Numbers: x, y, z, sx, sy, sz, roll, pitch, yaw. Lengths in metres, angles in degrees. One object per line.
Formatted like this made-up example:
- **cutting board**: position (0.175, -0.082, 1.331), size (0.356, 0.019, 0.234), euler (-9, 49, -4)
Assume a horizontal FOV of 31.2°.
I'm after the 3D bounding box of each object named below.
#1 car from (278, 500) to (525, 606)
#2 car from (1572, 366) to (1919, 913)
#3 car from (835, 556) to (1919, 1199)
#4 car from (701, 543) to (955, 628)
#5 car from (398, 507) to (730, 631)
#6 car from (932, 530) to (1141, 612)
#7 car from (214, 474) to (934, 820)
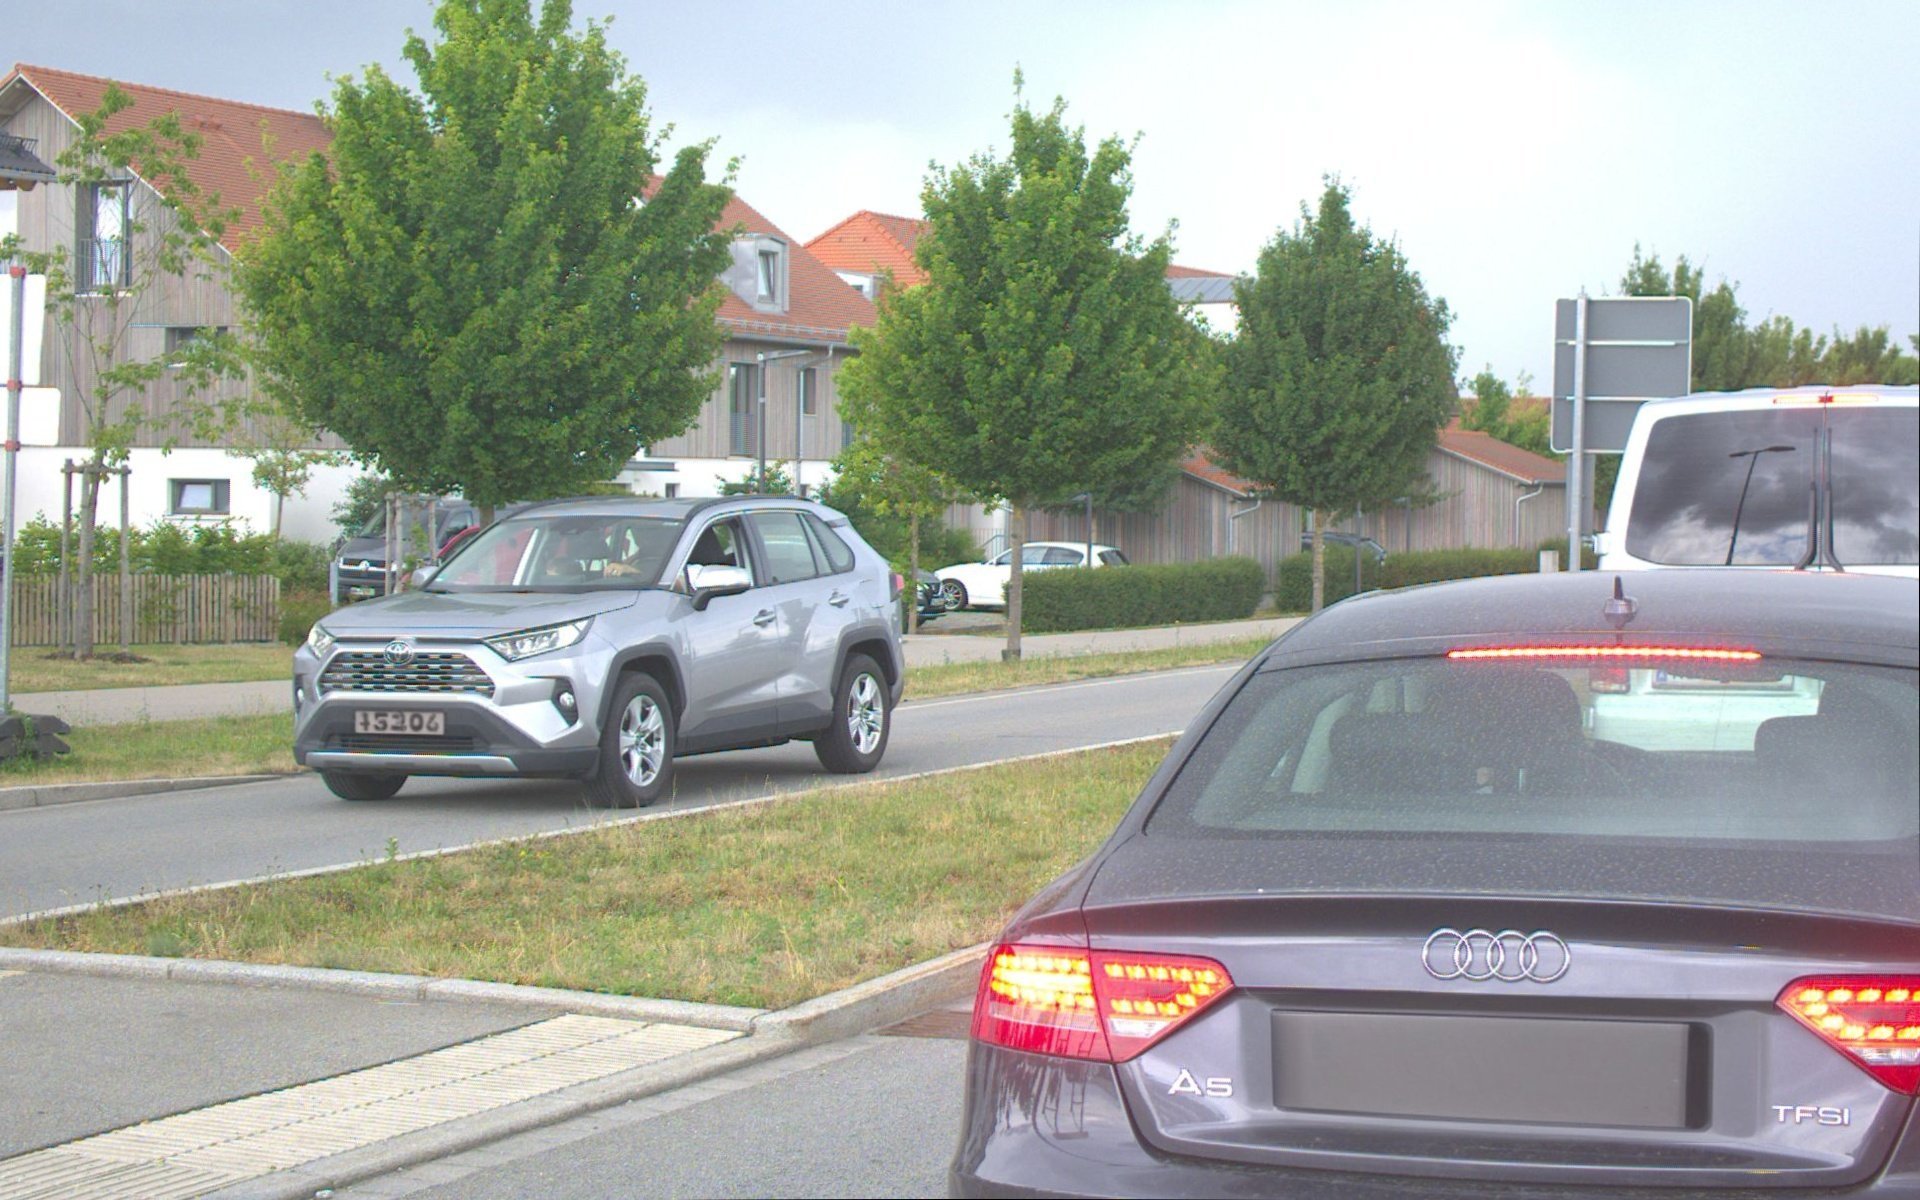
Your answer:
- **car**: position (-9.840, -0.837, 60.914), size (1.997, 1.766, 4.458), euler (2, 2, 28)
- **car**: position (3.832, 0.096, 14.144), size (1.869, 1.927, 3.996), euler (2, 2, 20)
- **car**: position (1.403, 0.655, 6.136), size (1.786, 1.386, 4.128), euler (2, 2, 21)
- **car**: position (-2.253, -0.264, 58.814), size (3.919, 1.310, 1.841), euler (2, 2, 21)
- **car**: position (-5.898, -0.489, 51.183), size (4.537, 1.674, 1.997), euler (2, 2, 27)
- **car**: position (1.509, -0.593, 67.699), size (3.733, 1.477, 1.685), euler (2, 2, 21)
- **car**: position (-1.996, 0.175, 19.381), size (1.996, 1.698, 4.629), euler (1, 1, 23)
